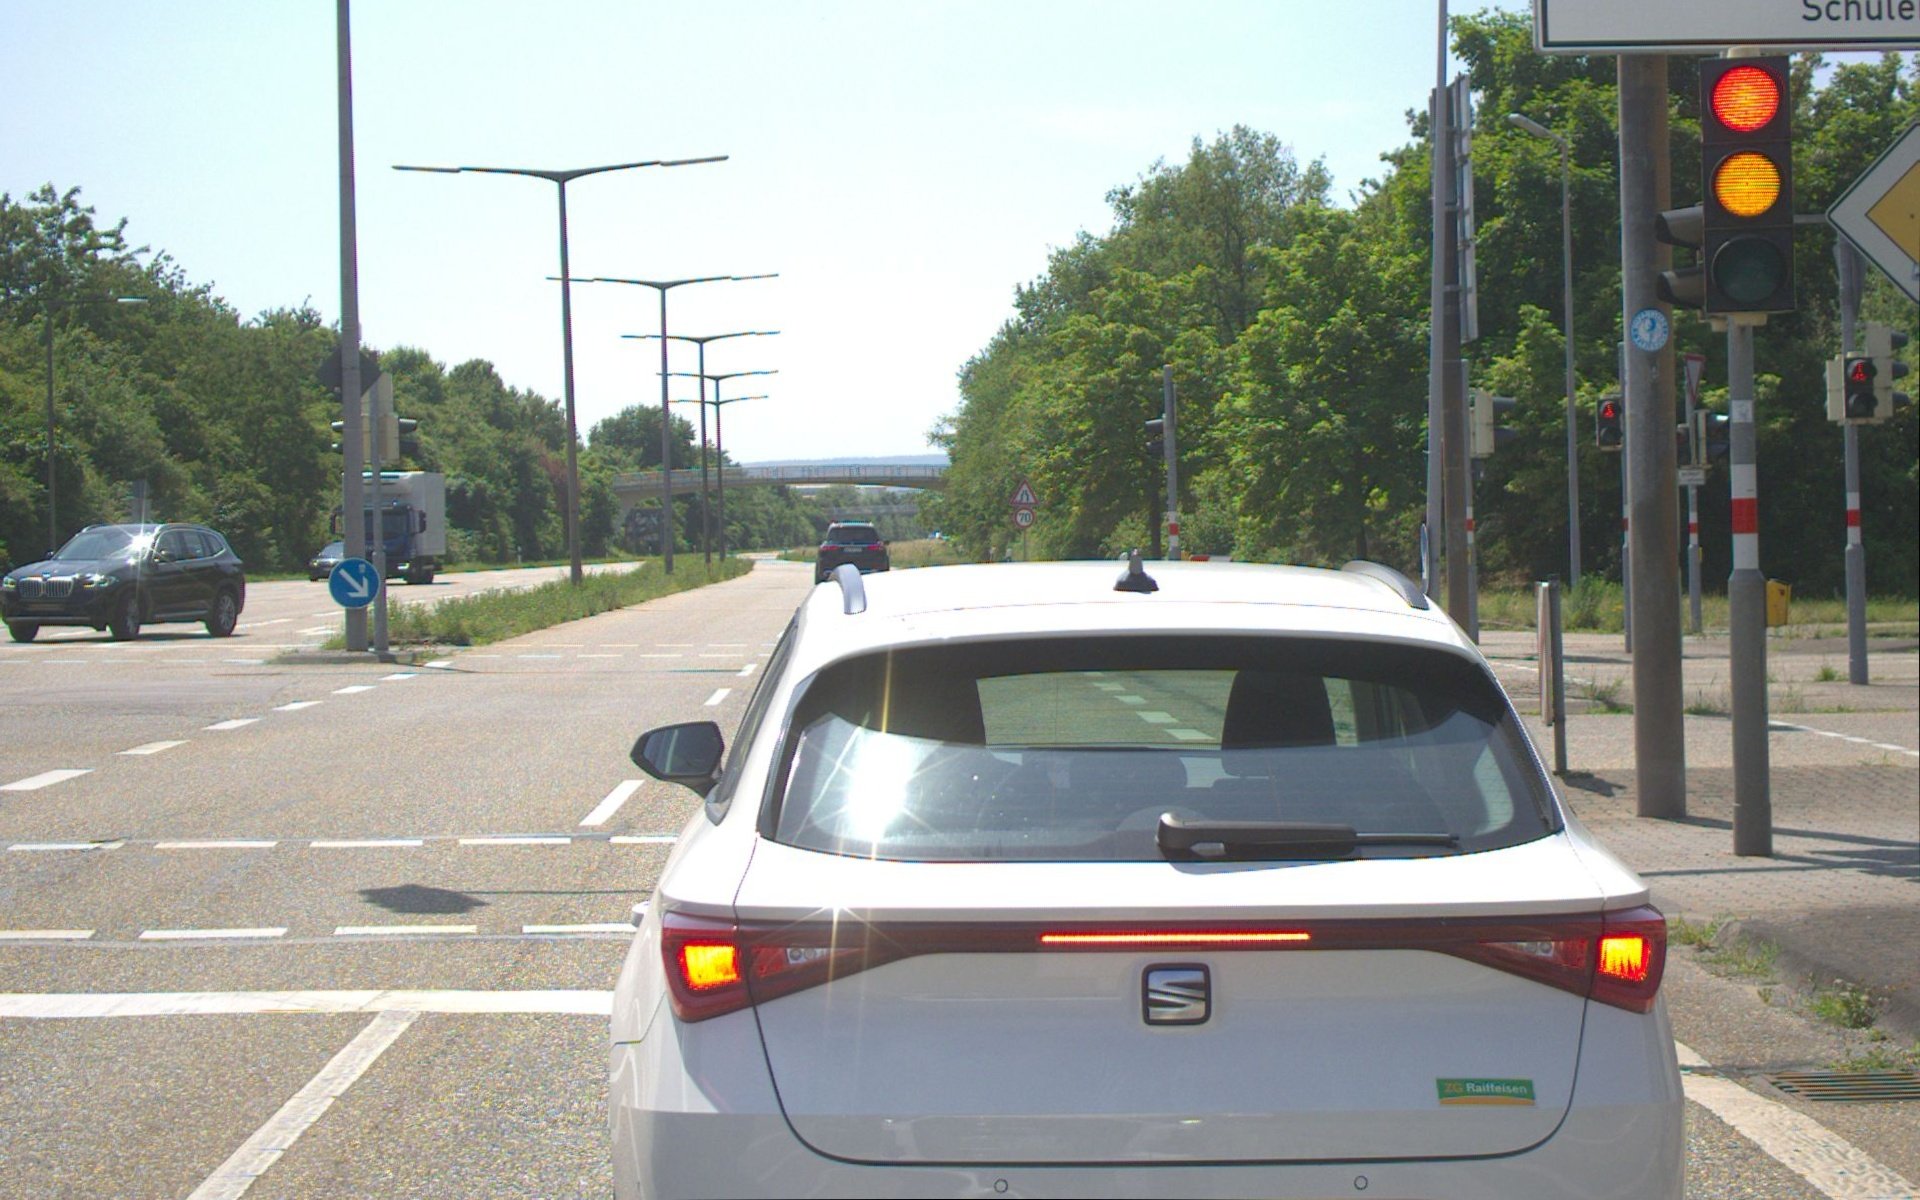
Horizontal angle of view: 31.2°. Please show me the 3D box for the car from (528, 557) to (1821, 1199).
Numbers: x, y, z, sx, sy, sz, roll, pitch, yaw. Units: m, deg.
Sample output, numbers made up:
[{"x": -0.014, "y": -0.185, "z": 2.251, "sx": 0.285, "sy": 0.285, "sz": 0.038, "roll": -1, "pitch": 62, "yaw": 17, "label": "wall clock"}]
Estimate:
[{"x": 0.266, "y": 0.647, "z": 6.489, "sx": 1.734, "sy": 1.423, "sz": 3.695, "roll": 1, "pitch": 1, "yaw": -1, "label": "car"}]

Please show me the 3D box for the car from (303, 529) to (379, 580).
[{"x": -21.898, "y": -1.631, "z": 121.861, "sx": 1.822, "sy": 1.726, "sz": 4.926, "roll": -1, "pitch": 1, "yaw": -1, "label": "car"}]

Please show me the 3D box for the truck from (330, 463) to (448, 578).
[{"x": -18.257, "y": -2.550, "z": 110.273, "sx": 2.687, "sy": 3.558, "sz": 7.268, "roll": 0, "pitch": 1, "yaw": -1, "label": "truck"}]

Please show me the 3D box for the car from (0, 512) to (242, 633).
[{"x": -12.237, "y": -0.429, "z": 50.202, "sx": 1.708, "sy": 1.657, "sz": 4.220, "roll": -1, "pitch": 1, "yaw": 15, "label": "car"}]

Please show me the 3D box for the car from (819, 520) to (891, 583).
[{"x": -2.925, "y": -1.393, "z": 96.776, "sx": 1.855, "sy": 1.703, "sz": 4.000, "roll": -1, "pitch": 1, "yaw": 0, "label": "car"}]
